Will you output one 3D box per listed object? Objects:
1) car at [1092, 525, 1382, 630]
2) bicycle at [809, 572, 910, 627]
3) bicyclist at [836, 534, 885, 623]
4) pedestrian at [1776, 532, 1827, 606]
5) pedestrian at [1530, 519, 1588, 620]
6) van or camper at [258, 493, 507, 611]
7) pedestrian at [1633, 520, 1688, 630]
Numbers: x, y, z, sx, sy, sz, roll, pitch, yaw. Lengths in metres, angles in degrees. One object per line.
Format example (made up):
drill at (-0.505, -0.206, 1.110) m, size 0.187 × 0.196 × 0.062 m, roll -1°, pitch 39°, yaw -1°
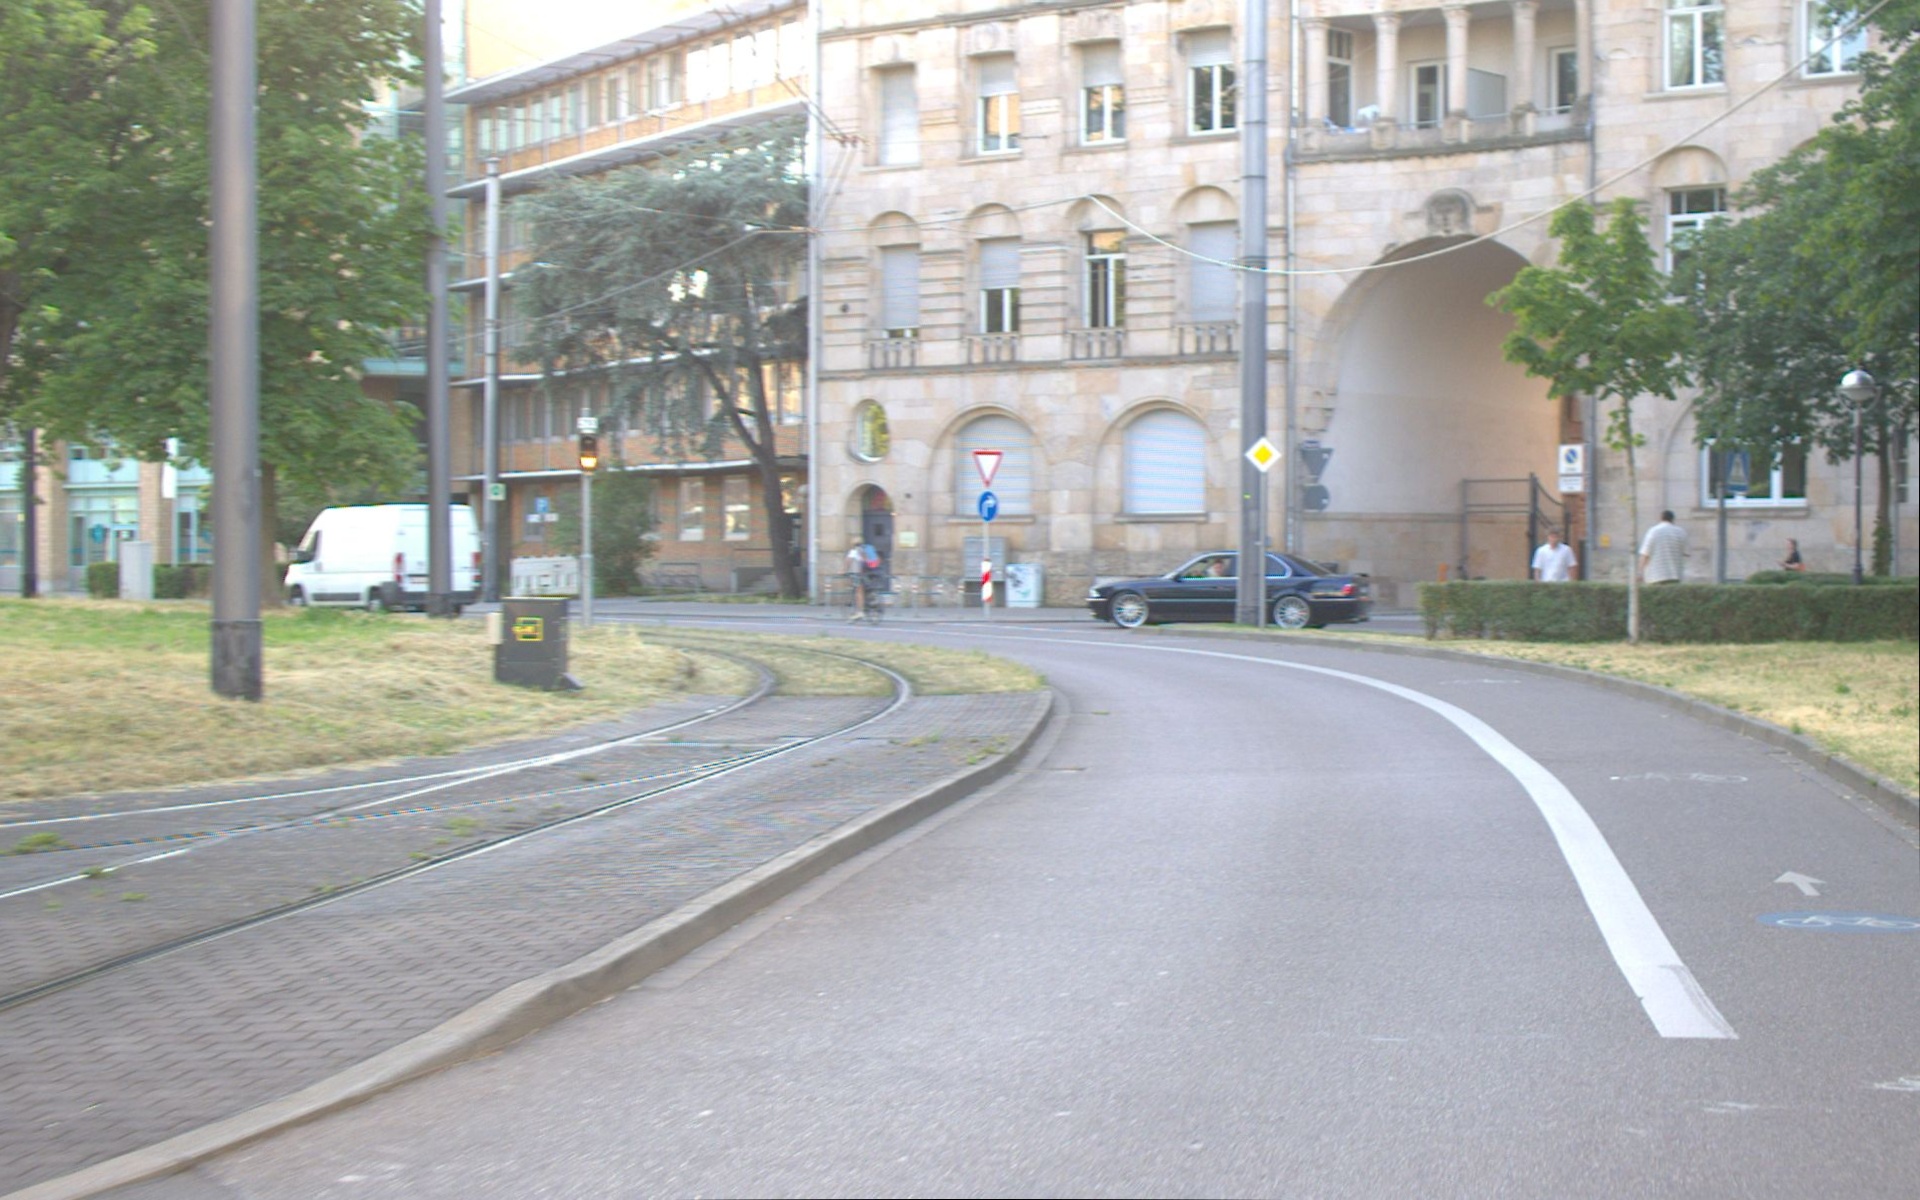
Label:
car at (4.821, -0.412, 59.619) m, size 4.757 × 1.755 × 1.819 m, roll 1°, pitch 1°, yaw 15°
bicycle at (-1.899, -0.014, 64.499) m, size 0.509 × 0.975 × 2.241 m, roll -1°, pitch 2°, yaw -45°
bicyclist at (-1.871, -0.408, 64.468) m, size 0.509 × 1.636 × 0.775 m, roll -1°, pitch 2°, yaw -45°
pedestrian at (15.685, -0.589, 64.077) m, size 0.686 × 1.363 × 0.633 m, roll 1°, pitch 1°, yaw 39°
pedestrian at (8.993, -0.461, 51.569) m, size 0.593 × 1.506 × 0.686 m, roll 1°, pitch 1°, yaw 37°
van or camper at (-12.682, -1.101, 75.174) m, size 2.608 × 2.464 × 6.318 m, roll -1°, pitch 2°, yaw -39°
pedestrian at (9.725, -0.347, 47.702) m, size 0.633 × 1.506 × 0.687 m, roll 1°, pitch 1°, yaw 20°
